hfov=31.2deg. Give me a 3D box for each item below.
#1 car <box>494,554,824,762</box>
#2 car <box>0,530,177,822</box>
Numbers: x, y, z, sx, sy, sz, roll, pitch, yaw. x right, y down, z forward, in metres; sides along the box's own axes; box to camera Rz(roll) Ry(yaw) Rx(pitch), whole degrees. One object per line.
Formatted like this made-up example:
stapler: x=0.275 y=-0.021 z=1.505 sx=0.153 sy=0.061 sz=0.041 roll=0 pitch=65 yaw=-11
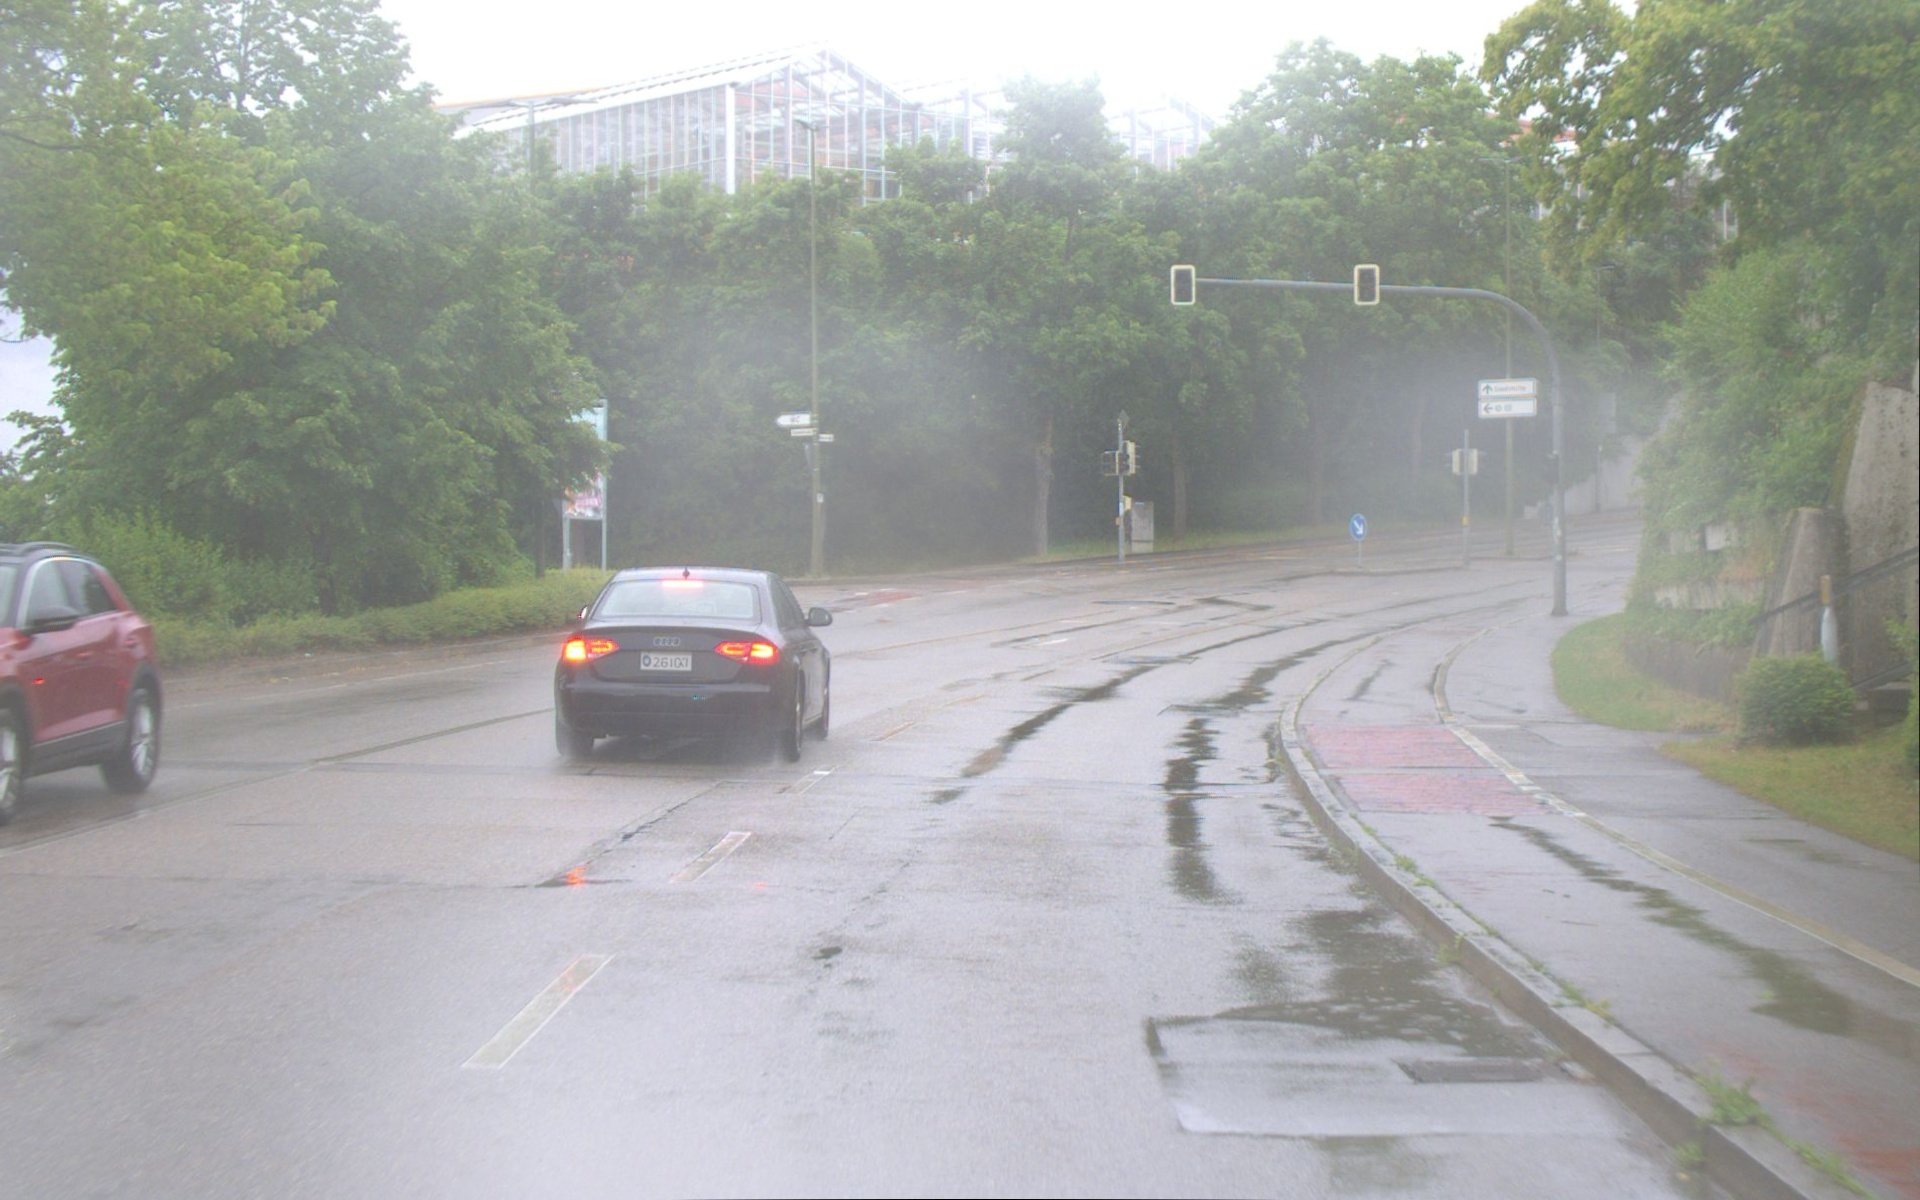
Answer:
car: x=-2.188 y=0.379 z=26.025 sx=1.755 sy=1.391 sz=3.999 roll=1 pitch=1 yaw=6
car: x=-5.901 y=0.381 z=19.490 sx=1.754 sy=1.530 sz=4.000 roll=1 pitch=1 yaw=4
